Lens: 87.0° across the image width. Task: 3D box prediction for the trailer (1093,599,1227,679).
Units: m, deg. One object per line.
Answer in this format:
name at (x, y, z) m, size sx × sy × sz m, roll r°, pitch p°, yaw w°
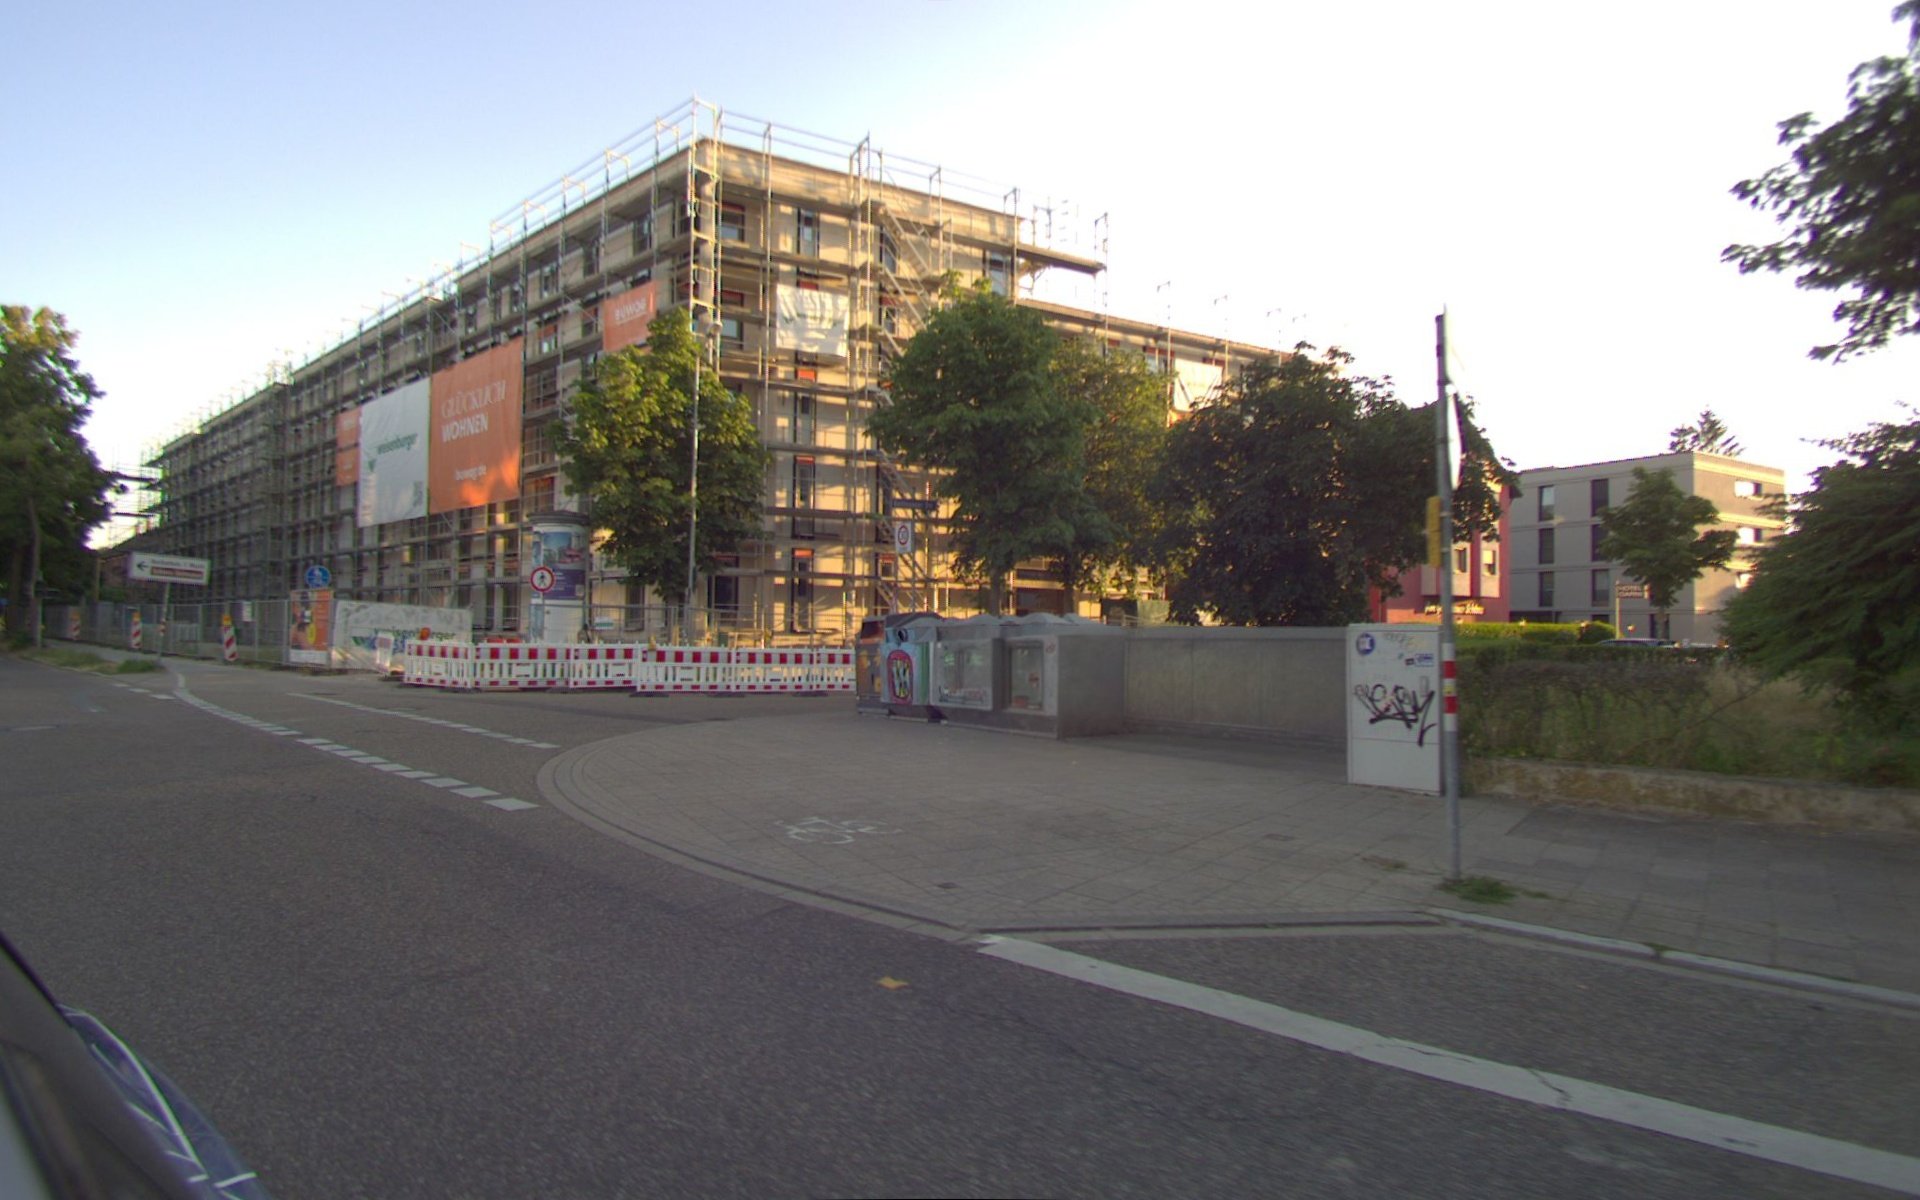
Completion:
trailer at (6.760, 1.337, 34.208) m, size 4.114 × 2.559 × 2.006 m, roll 2°, pitch -3°, yaw -29°
